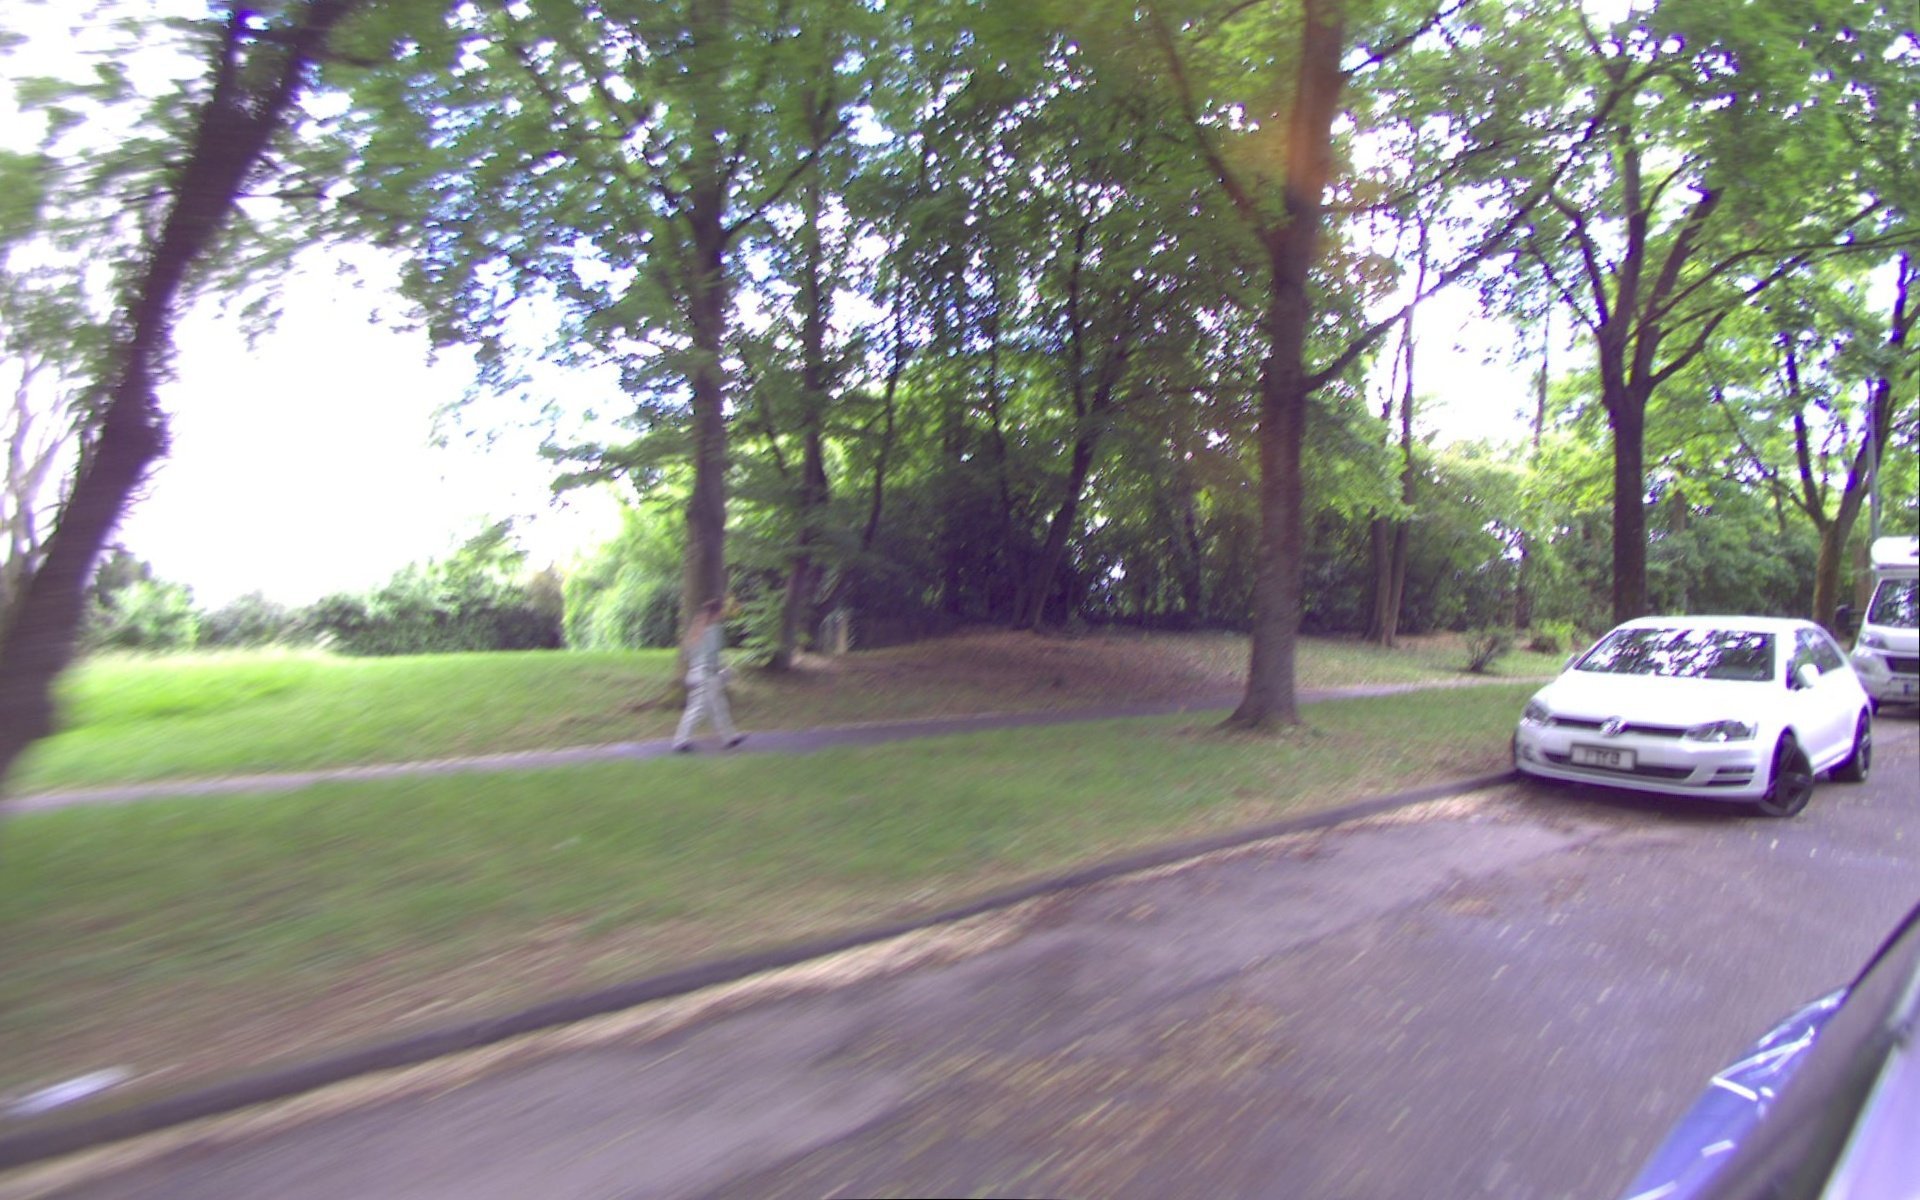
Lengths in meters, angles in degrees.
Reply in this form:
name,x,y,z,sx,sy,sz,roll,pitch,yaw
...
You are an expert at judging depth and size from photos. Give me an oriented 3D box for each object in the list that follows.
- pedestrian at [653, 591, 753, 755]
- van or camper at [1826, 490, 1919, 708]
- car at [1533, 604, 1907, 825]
name,x,y,z,sx,sy,sz,roll,pitch,yaw
pedestrian,-2.743,0.753,10.831,0.580,1.673,0.859,-2,-2,41
van or camper,16.480,0.015,15.823,7.248,3.018,2.433,1,-2,-33
car,6.751,0.812,8.838,4.032,1.502,1.692,1,-2,-39
